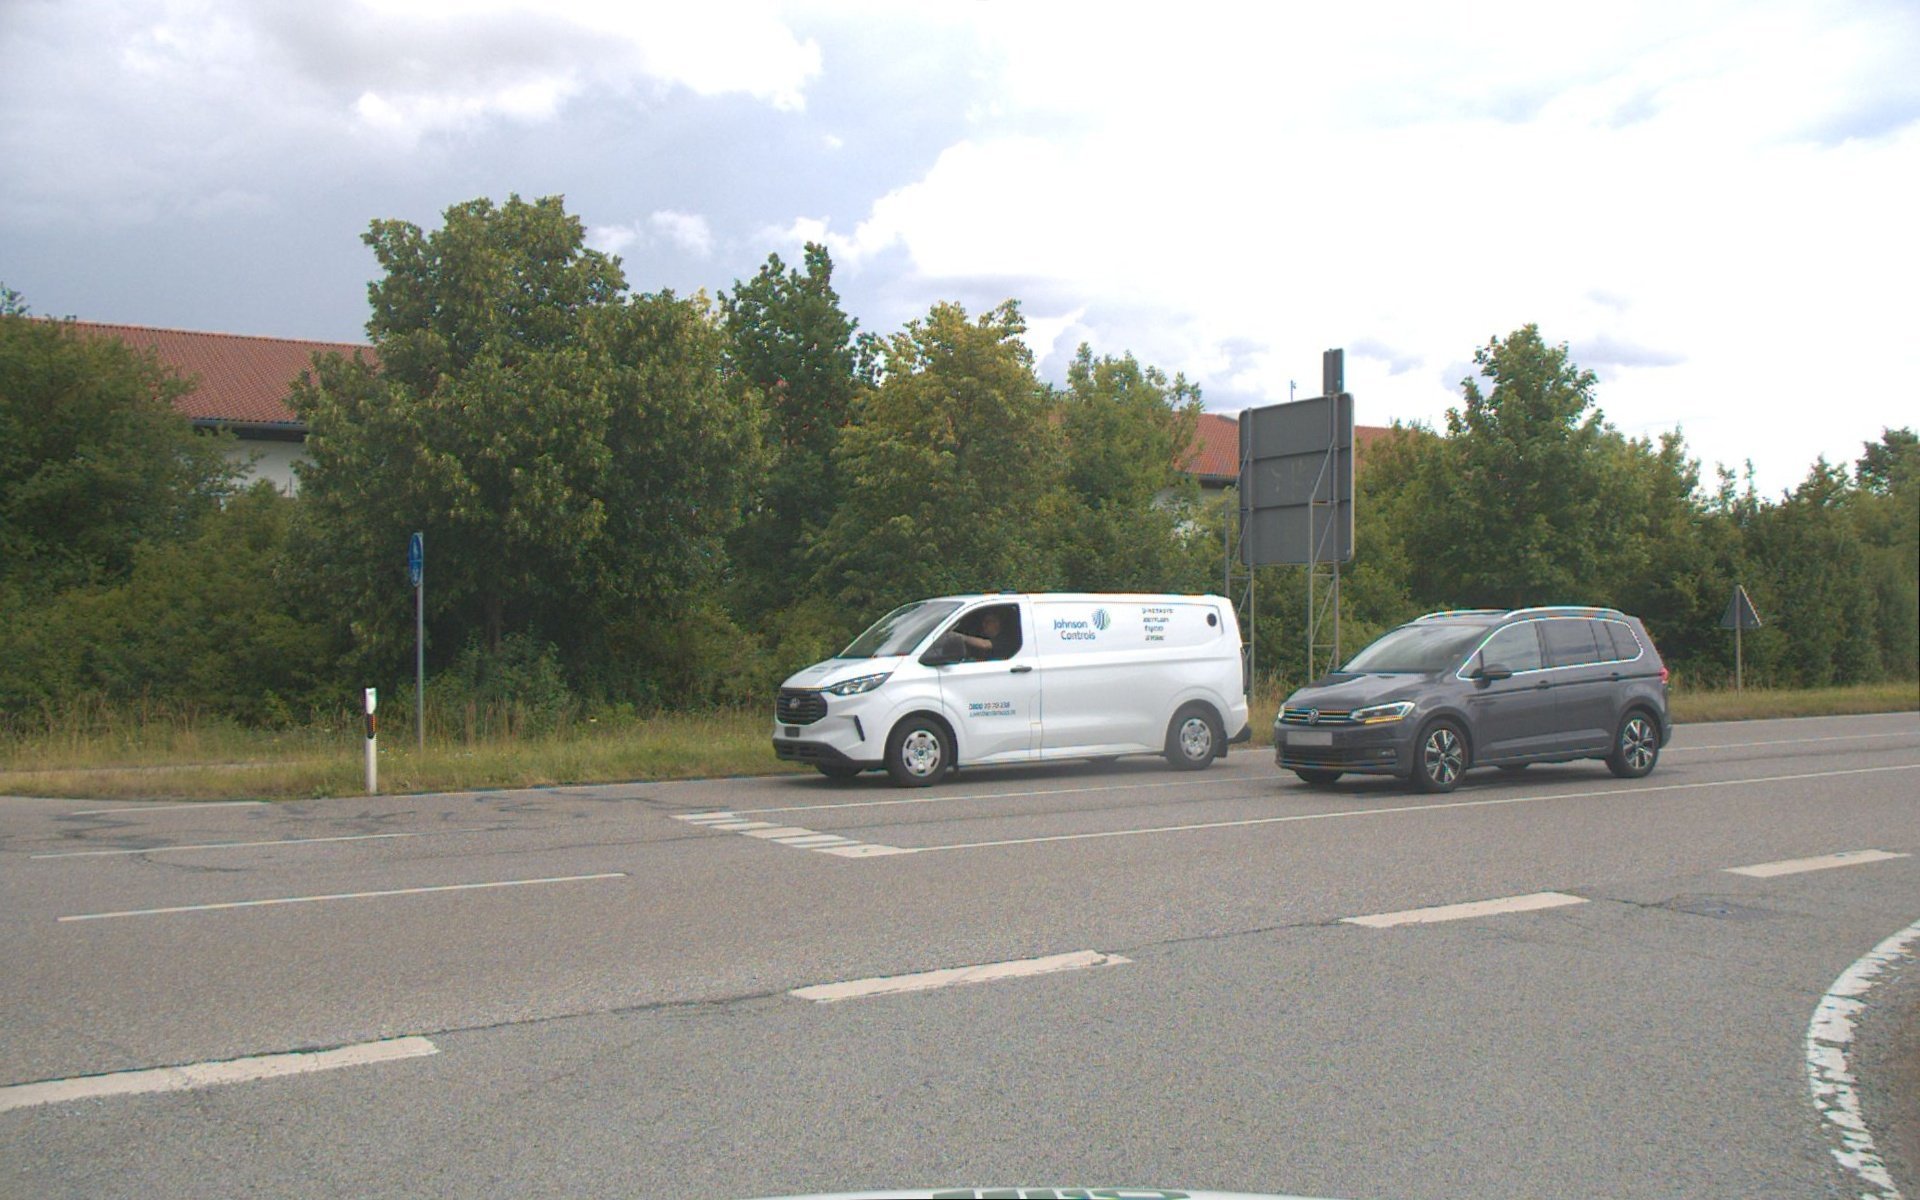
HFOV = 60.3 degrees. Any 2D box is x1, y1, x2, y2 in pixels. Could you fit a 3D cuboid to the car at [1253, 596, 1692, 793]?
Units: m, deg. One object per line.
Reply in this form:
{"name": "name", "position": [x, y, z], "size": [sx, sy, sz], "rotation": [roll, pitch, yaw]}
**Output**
{"name": "car", "position": [5.062, 0.844, 16.185], "size": [4.234, 1.687, 1.735], "rotation": [0, -2, -32]}

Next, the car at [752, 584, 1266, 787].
{"name": "car", "position": [0.607, 0.820, 17.950], "size": [5.319, 1.919, 2.090], "rotation": [0, -1, -31]}
